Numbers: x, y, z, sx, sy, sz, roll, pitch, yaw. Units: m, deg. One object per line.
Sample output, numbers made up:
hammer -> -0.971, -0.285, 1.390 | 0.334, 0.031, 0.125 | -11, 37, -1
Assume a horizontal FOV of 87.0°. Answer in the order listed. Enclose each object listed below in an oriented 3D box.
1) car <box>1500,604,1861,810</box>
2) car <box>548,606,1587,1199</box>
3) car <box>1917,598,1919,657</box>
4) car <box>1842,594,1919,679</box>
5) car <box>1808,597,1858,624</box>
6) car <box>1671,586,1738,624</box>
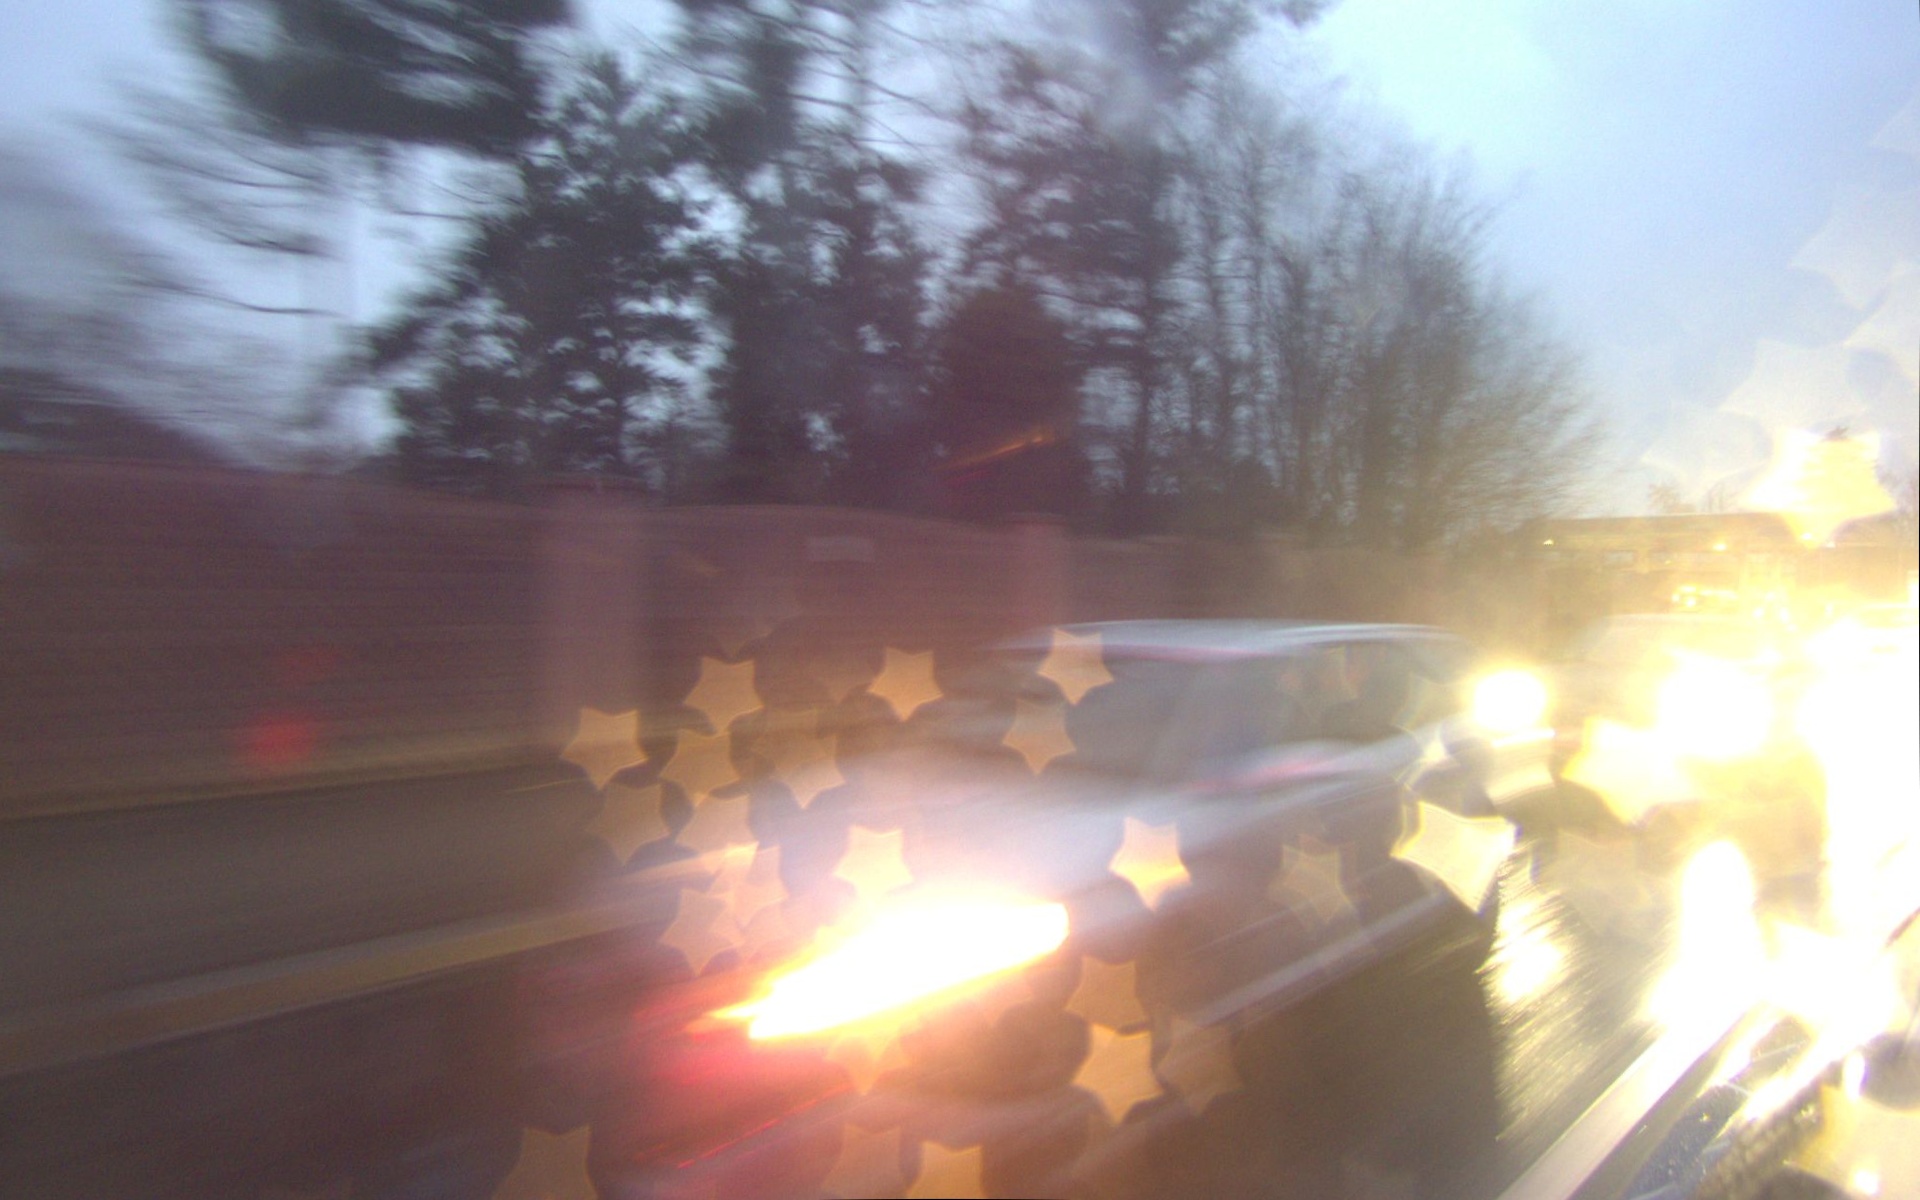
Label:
car -> 6.774, 0.763, 9.290 | 4.685, 1.384, 1.644 | 0, 1, -41
car -> 0.806, 0.725, 3.973 | 4.197, 1.352, 1.656 | 0, 1, -41
car -> 27.384, 0.732, 27.539 | 3.936, 1.548, 1.568 | 0, 0, -41
car -> 19.686, 0.704, 20.821 | 4.385, 1.595, 1.711 | 0, 1, -41
car -> 49.236, 0.593, 57.041 | 4.096, 1.414, 1.575 | 0, 2, -42
car -> 39.558, 0.241, 53.761 | 4.224, 1.882, 1.997 | 0, 2, -42
